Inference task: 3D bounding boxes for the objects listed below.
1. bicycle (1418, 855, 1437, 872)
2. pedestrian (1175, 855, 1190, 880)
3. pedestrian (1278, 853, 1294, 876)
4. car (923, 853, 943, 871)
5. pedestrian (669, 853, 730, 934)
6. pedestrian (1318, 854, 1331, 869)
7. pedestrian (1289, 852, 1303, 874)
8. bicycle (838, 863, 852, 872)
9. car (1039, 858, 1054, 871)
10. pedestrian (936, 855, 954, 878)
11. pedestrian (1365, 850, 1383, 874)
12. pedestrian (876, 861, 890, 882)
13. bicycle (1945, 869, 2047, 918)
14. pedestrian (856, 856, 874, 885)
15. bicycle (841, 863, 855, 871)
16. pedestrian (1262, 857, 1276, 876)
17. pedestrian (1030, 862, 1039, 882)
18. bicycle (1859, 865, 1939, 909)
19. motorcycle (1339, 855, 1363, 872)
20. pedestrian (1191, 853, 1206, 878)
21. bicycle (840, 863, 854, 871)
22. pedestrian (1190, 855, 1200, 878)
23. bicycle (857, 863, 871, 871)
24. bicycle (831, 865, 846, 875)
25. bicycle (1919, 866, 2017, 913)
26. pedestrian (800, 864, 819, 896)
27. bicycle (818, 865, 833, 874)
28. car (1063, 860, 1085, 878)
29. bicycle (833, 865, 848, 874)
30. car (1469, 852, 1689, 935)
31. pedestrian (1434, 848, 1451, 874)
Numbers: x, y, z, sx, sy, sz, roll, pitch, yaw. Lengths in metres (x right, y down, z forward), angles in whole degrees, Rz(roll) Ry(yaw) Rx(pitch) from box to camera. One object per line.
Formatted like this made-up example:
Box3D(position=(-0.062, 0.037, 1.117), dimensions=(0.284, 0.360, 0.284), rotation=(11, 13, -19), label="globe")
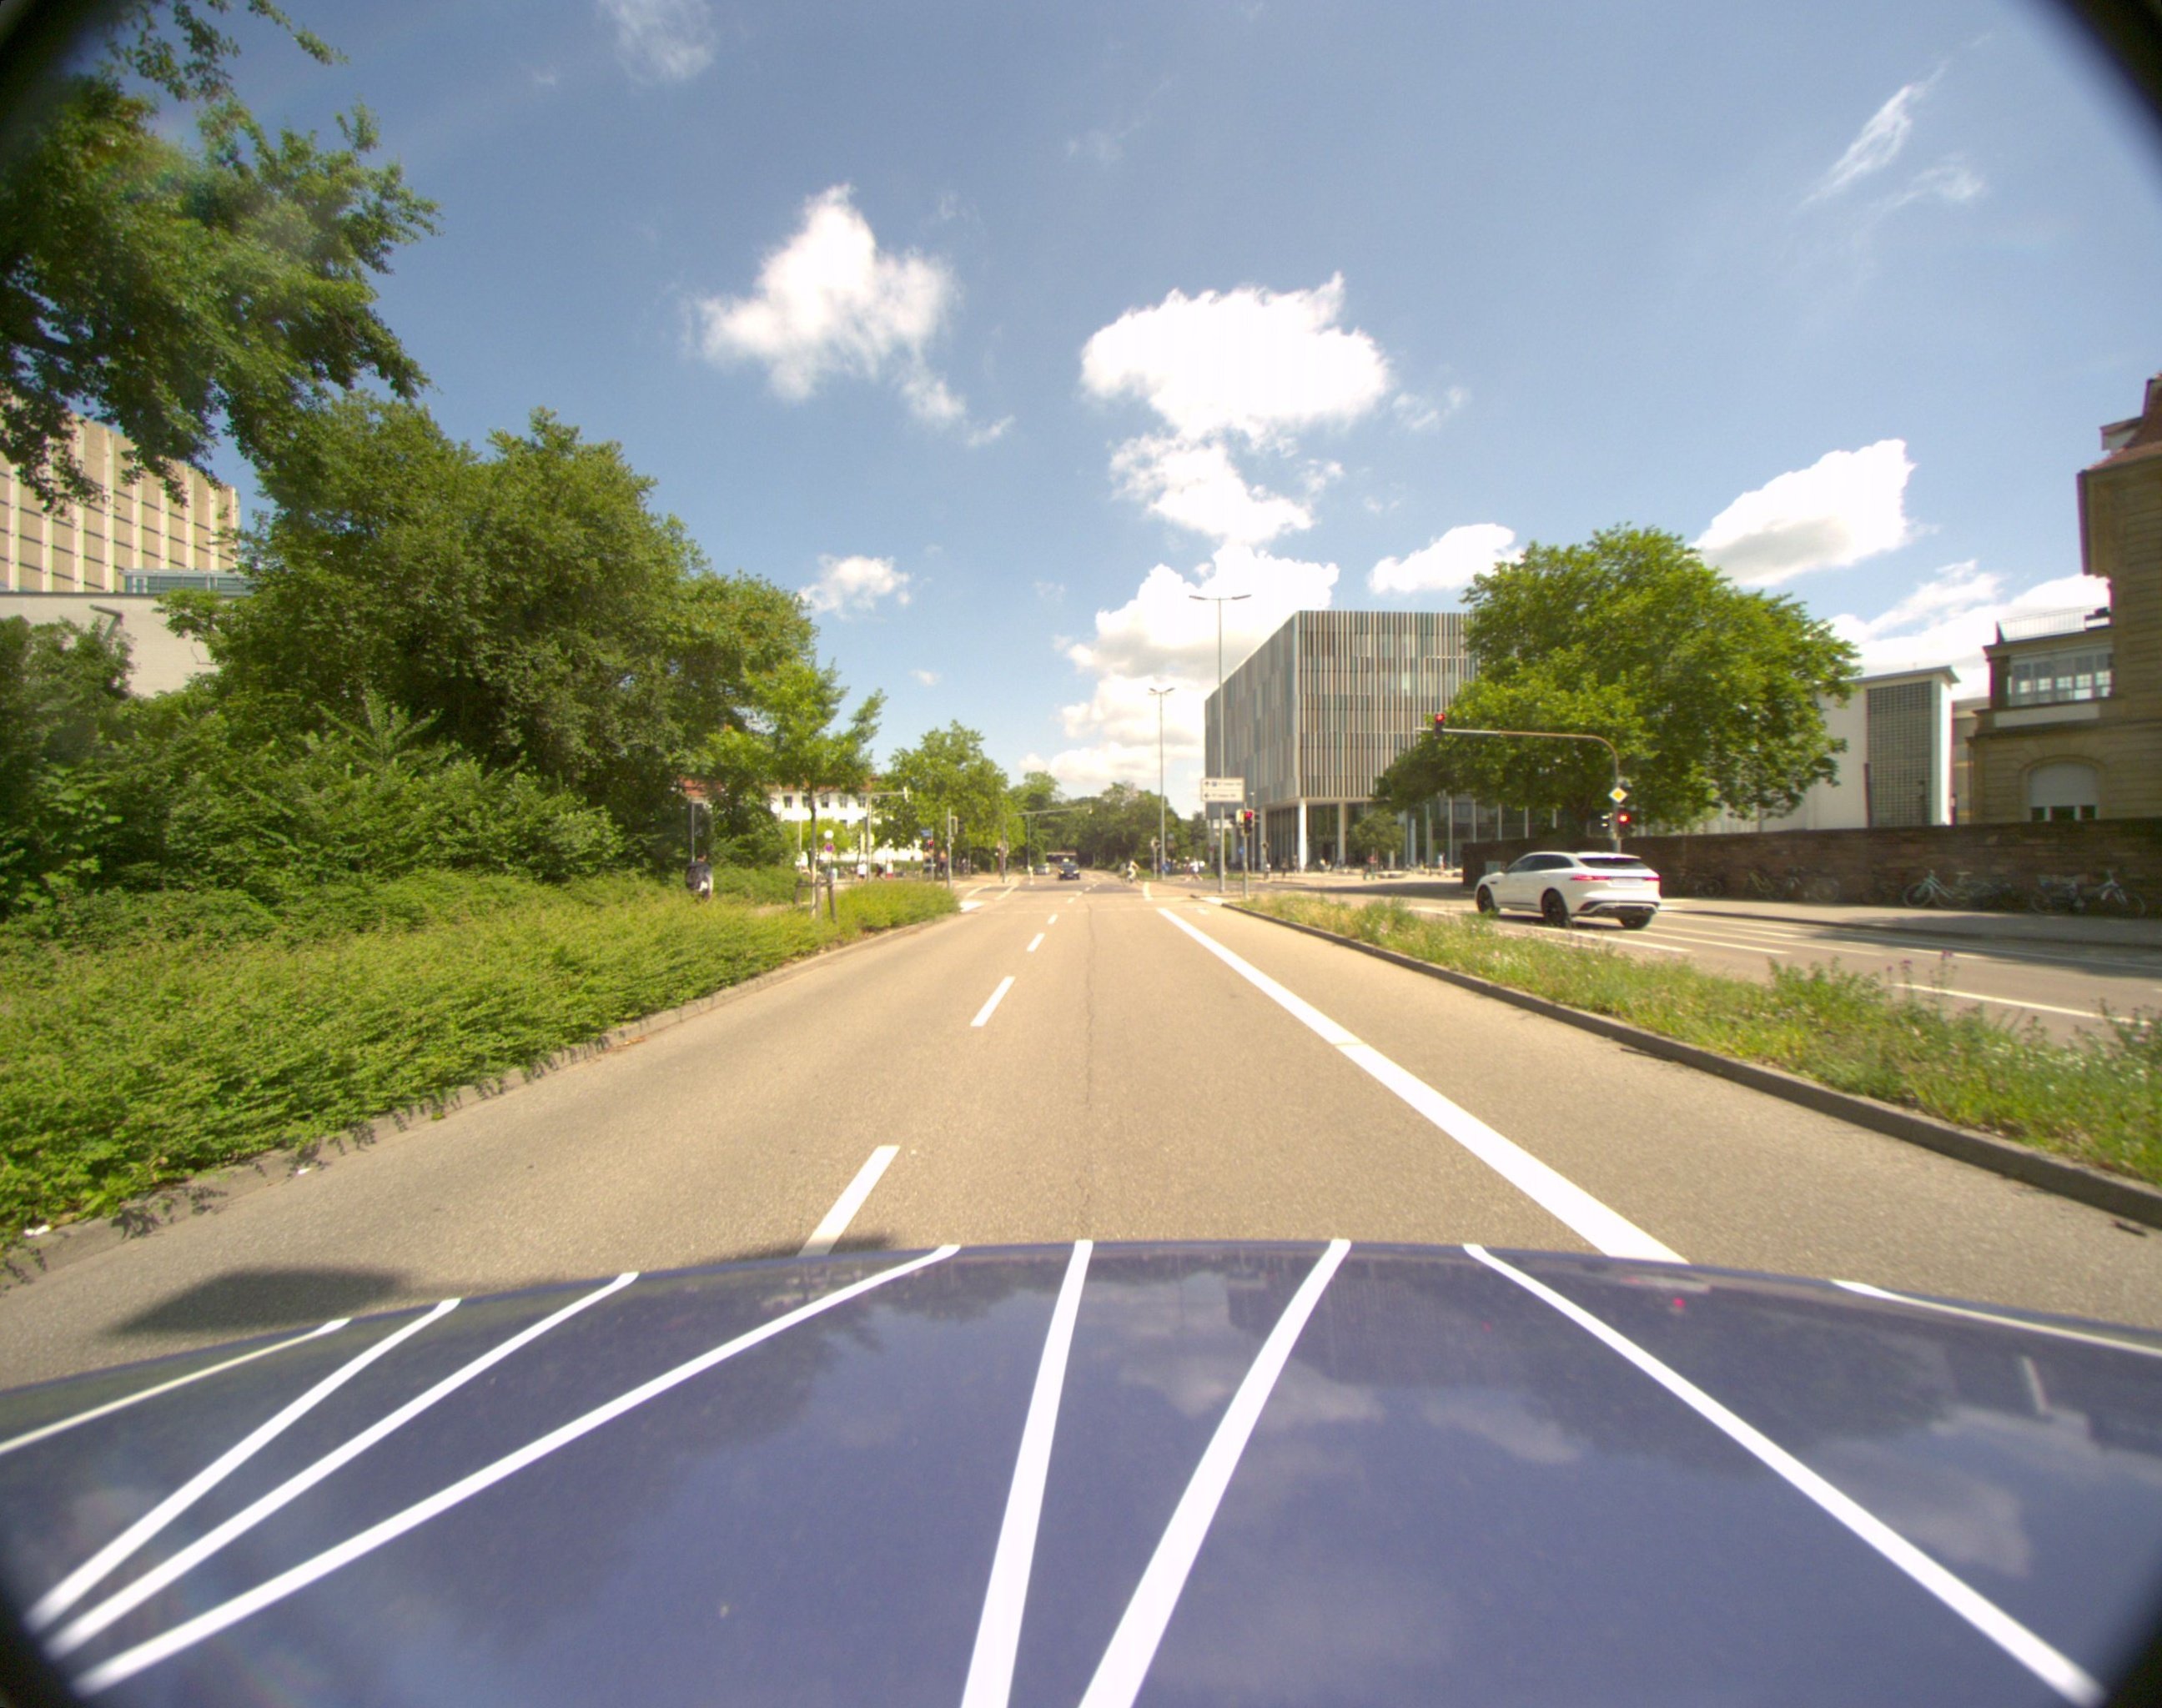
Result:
Box3D(position=(32.637, 0.923, 71.545), dimensions=(0.997, 1.543, 3.422), rotation=(0, 0, 37), label="bicycle")
Box3D(position=(8.027, 1.052, 59.967), dimensions=(1.107, 1.914, 0.973), rotation=(-1, 1, 10), label="pedestrian")
Box3D(position=(17.639, 0.878, 65.454), dimensions=(0.969, 1.914, 0.881), rotation=(0, 1, 44), label="pedestrian")
Box3D(position=(-16.761, 0.895, 86.228), dimensions=(2.000, 2.042, 4.226), rotation=(-1, 0, -8), label="car")
Box3D(position=(-8.282, 0.836, 16.521), dimensions=(0.815, 1.711, 0.929), rotation=(-1, 1, 1), label="pedestrian")
Box3D(position=(26.313, 0.811, 82.147), dimensions=(1.011, 1.697, 1.213), rotation=(-1, 0, 34), label="pedestrian")
Box3D(position=(19.080, 0.818, 67.418), dimensions=(0.969, 1.914, 0.880), rotation=(-1, 1, 26), label="pedestrian")
Box3D(position=(-26.569, 1.487, 85.486), dimensions=(1.428, 0.945, 0.352), rotation=(-1, 0, -6), label="bicycle")
Box3D(position=(-4.574, 1.375, 101.461), dimensions=(1.913, 1.772, 3.999), rotation=(-1, 0, -4), label="car")
Box3D(position=(-11.344, 1.032, 63.336), dimensions=(1.030, 1.914, 0.973), rotation=(-1, 1, 21), label="pedestrian")
Box3D(position=(23.324, 0.623, 60.497), dimensions=(1.108, 1.914, 0.972), rotation=(-1, 1, 5), label="pedestrian")
Box3D(position=(-15.135, 1.307, 58.070), dimensions=(1.064, 1.588, 0.971), rotation=(-1, 0, -15), label="pedestrian")
Box3D(position=(22.619, 0.944, 18.814), dimensions=(0.403, 1.145, 1.590), rotation=(-1, 0, -33), label="bicycle")
Box3D(position=(-14.327, 1.074, 50.411), dimensions=(0.878, 1.861, 0.971), rotation=(-1, 1, -4), label="pedestrian")
Box3D(position=(-26.569, 1.477, 86.565), dimensions=(1.428, 0.945, 0.352), rotation=(-1, 0, -6), label="bicycle")
Box3D(position=(15.953, 1.071, 64.577), dimensions=(0.971, 1.619, 0.879), rotation=(-1, 1, 2), label="pedestrian")
Box3D(position=(-3.586, 1.403, 58.878), dimensions=(0.591, 1.495, 0.416), rotation=(-1, 1, -18), label="pedestrian")
Box3D(position=(22.784, 0.896, 21.192), dimensions=(0.413, 1.145, 1.593), rotation=(-1, 0, -5), label="bicycle")
Box3D(position=(27.471, 0.943, 77.267), dimensions=(0.969, 1.630, 3.305), rotation=(0, 0, 44), label="motorcycle")
Box3D(position=(9.090, 0.907, 58.684), dimensions=(1.107, 1.914, 0.973), rotation=(-1, 1, 10), label="pedestrian")
Box3D(position=(-26.512, 1.480, 86.154), dimensions=(1.428, 0.945, 0.352), rotation=(-1, 0, -6), label="bicycle")
Box3D(position=(8.966, 0.951, 59.701), dimensions=(0.646, 1.815, 0.689), rotation=(0, 0, 0), label="pedestrian")
Box3D(position=(-24.511, 1.463, 85.920), dimensions=(1.428, 0.945, 0.352), rotation=(-1, 0, -6), label="bicycle")
Box3D(position=(-24.221, 1.570, 75.935), dimensions=(1.371, 0.945, 0.352), rotation=(-1, 0, -6), label="bicycle")
Box3D(position=(22.792, 0.900, 19.566), dimensions=(0.403, 1.145, 1.591), rotation=(-1, 0, -23), label="bicycle")
Box3D(position=(-13.977, 1.336, 39.117), dimensions=(0.633, 1.617, 0.647), rotation=(0, 1, 35), label="pedestrian")
Box3D(position=(-25.961, 1.561, 77.125), dimensions=(1.412, 0.945, 0.352), rotation=(-1, 0, -6), label="bicycle")
Box3D(position=(-0.662, 1.363, 70.006), dimensions=(1.846, 1.593, 3.999), rotation=(-1, 0, -2), label="car")
Box3D(position=(-24.250, 1.549, 76.594), dimensions=(1.371, 0.945, 0.352), rotation=(-1, 0, -6), label="bicycle")
Box3D(position=(11.233, 0.809, 17.675), dimensions=(2.076, 1.657, 4.776), rotation=(-1, 0, 1), label="car")
Box3D(position=(26.898, 0.491, 56.561), dimensions=(1.106, 1.914, 0.973), rotation=(-1, 1, 23), label="pedestrian")
